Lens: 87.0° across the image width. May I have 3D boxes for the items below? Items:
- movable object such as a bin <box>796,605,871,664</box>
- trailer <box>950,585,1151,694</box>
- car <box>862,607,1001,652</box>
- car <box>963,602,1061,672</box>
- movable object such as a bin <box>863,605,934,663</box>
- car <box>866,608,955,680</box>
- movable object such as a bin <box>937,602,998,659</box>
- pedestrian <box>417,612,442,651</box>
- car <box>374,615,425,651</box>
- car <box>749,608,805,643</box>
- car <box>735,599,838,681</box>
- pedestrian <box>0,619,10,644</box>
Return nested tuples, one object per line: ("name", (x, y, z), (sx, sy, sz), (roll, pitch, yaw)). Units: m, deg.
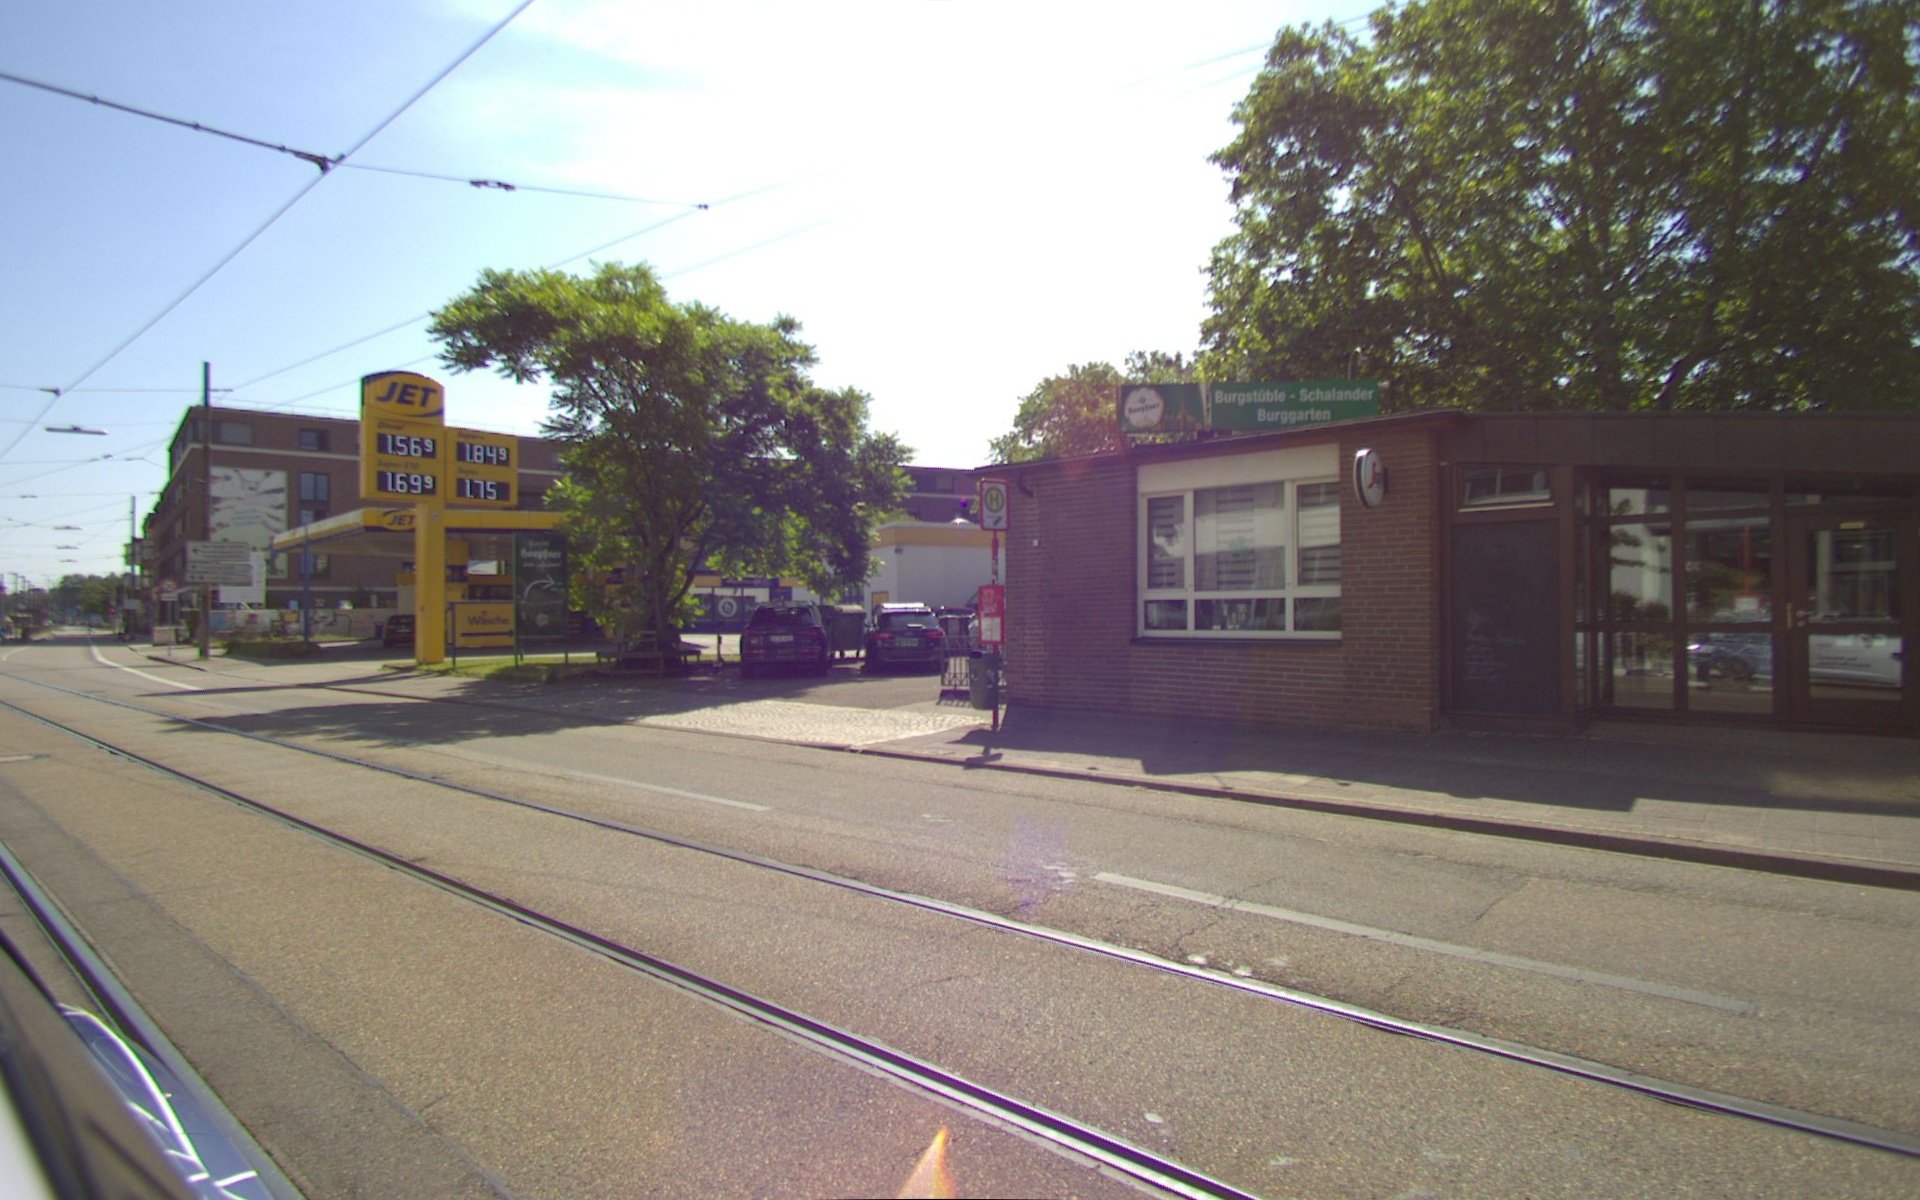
("movable object such as a bin", (-3.362, 0.897, 26.895), (1.380, 1.514, 1.401), (-2, -1, 44))
("trailer", (1.566, 0.602, 16.819), (1.723, 1.615, 3.239), (-1, -1, 42))
("car", (-1.010, 1.031, 35.577), (4.477, 1.471, 1.899), (0, -2, -23))
("car", (1.189, 0.862, 25.042), (1.819, 1.569, 4.005), (-1, -1, -6))
("movable object such as a bin", (-1.674, 0.898, 27.364), (1.398, 1.514, 1.383), (0, -1, -33))
("car", (-1.226, 0.945, 23.300), (1.819, 1.485, 4.005), (-1, -1, -6))
("movable object such as a bin", (0.197, 0.861, 28.261), (1.307, 1.514, 1.335), (2, -2, -20))
("pedestrian", (-24.374, 1.436, 46.486), (0.745, 1.738, 0.846), (-2, -1, 44))
("car", (-26.090, 1.546, 47.234), (1.731, 1.466, 4.423), (-3, -1, -25))
("car", (-11.056, 1.494, 60.765), (1.731, 1.997, 5.324), (0, -1, -29))
("car", (-3.847, 0.849, 23.159), (1.989, 1.653, 4.665), (-1, -1, -6))
("pedestrian", (-70.089, 2.293, 74.236), (0.793, 1.773, 0.550), (-1, -1, 42))
